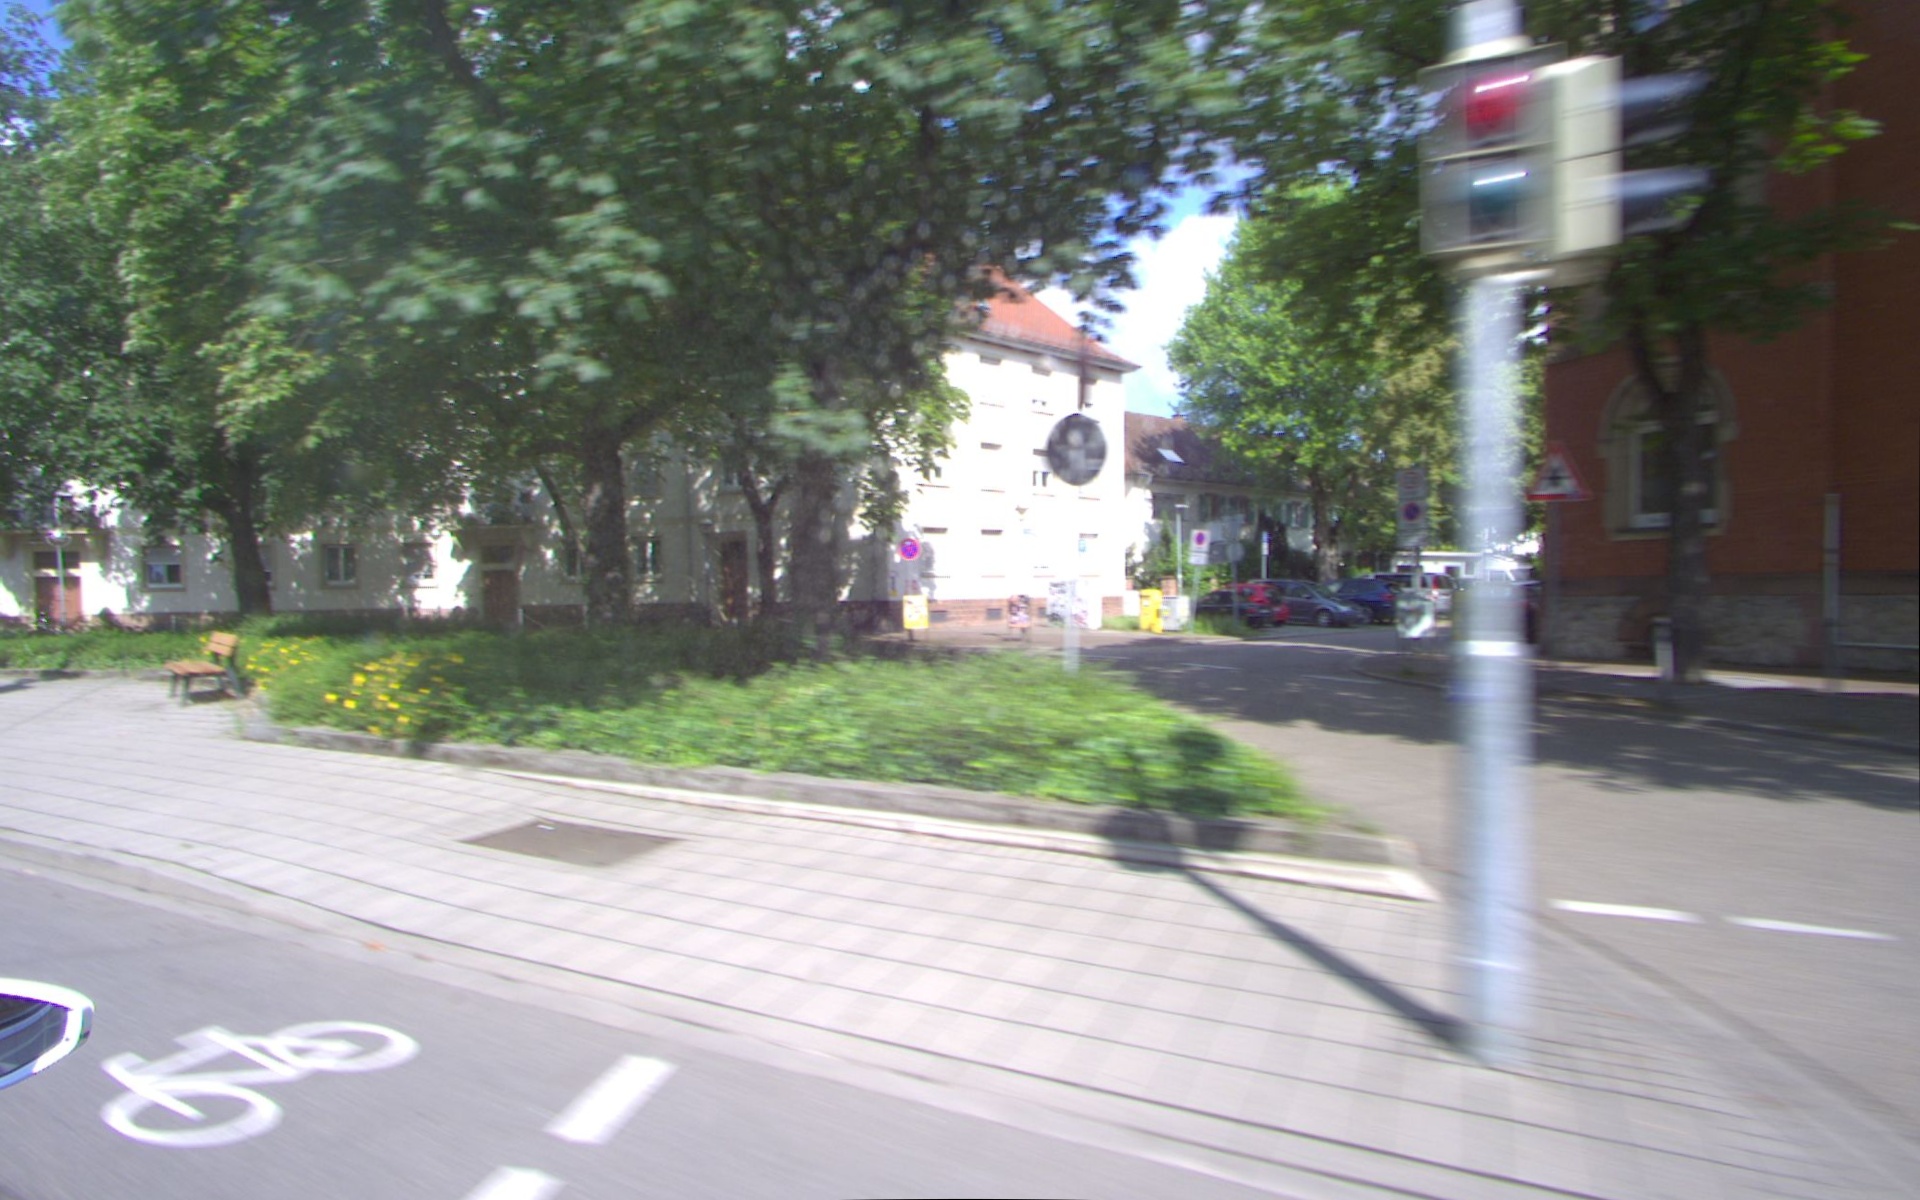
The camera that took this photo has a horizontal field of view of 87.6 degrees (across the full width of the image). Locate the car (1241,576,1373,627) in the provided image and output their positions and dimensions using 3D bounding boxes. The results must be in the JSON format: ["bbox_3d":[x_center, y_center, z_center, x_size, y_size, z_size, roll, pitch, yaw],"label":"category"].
[{"bbox_3d":[12.305,0.031,35.639,1.833,1.706,4.086,-1,1,-44],"label":"car"}]

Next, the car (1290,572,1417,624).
[{"bbox_3d":[14.576,-0.095,37.199,1.957,1.818,3.963,-1,1,-42],"label":"car"}]

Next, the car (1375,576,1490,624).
[{"bbox_3d":[19.946,-0.017,42.417,1.976,1.907,3.968,-1,1,-38],"label":"car"}]

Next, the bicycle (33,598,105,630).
[{"bbox_3d":[-29.947,0.455,33.673,1.720,1.034,0.566,-1,3,-10],"label":"bicycle"}]

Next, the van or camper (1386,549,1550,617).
[{"bbox_3d":[24.353,-0.775,48.294,2.100,3.079,6.770,-2,1,-42],"label":"van or camper"}]

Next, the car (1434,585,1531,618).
[{"bbox_3d":[23.590,0.057,45.301,1.516,1.416,3.633,-1,1,-40],"label":"car"}]

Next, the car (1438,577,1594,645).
[{"bbox_3d":[13.450,0.224,24.174,3.952,1.505,1.921,-1,1,-38],"label":"car"}]

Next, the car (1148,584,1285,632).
[{"bbox_3d":[8.239,0.229,32.351,1.785,1.461,3.960,-2,1,-44],"label":"car"}]

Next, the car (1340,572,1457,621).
[{"bbox_3d":[17.663,-0.136,40.481,1.829,1.885,3.962,-2,1,-43],"label":"car"}]

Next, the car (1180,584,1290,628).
[{"bbox_3d":[9.479,0.175,34.635,1.547,1.441,3.380,-2,1,-44],"label":"car"}]
